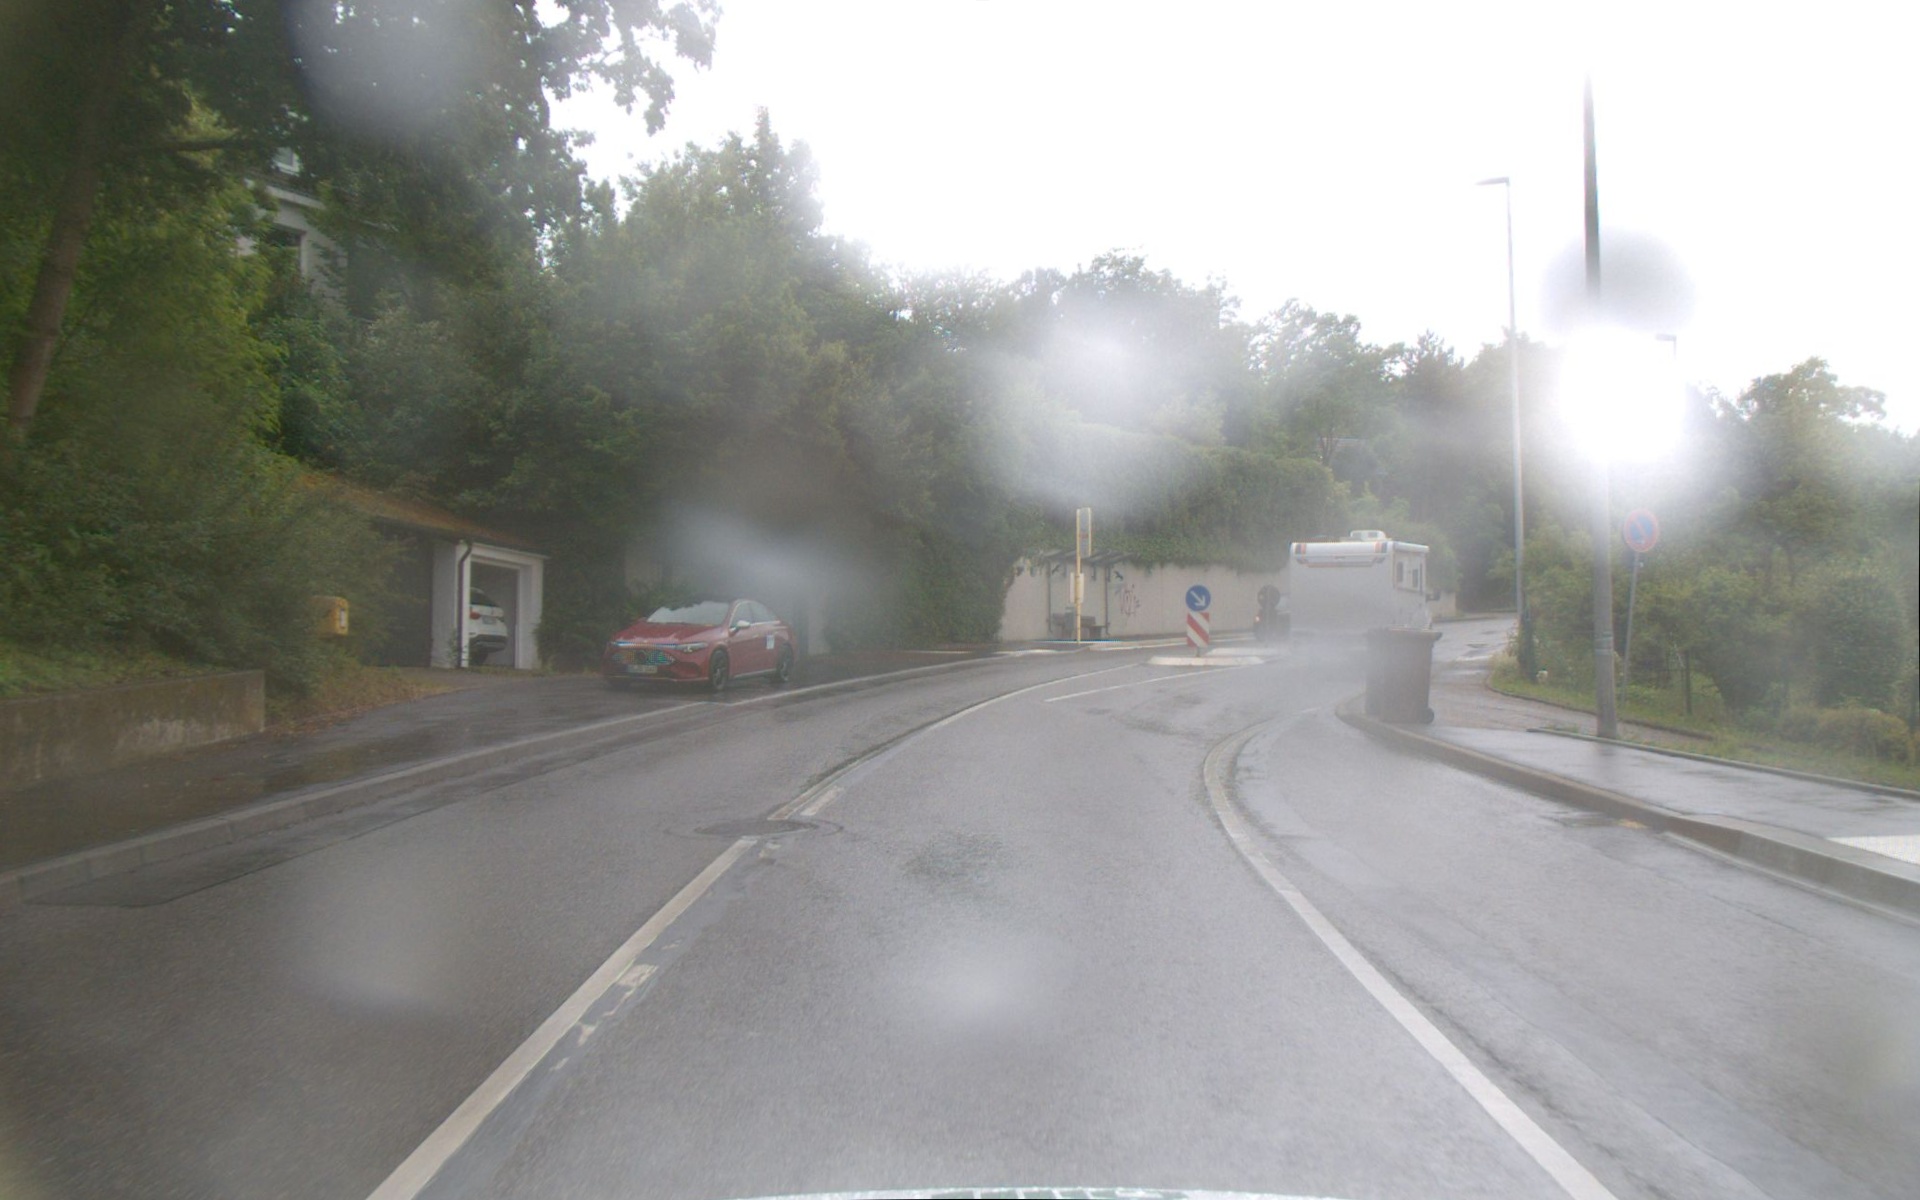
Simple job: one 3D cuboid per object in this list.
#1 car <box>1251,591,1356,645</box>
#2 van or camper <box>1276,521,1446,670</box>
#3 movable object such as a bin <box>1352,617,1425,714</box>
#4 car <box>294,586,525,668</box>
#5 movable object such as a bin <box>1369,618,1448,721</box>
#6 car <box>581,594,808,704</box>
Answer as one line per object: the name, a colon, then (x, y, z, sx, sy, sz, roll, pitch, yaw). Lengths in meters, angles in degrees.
car: (10.953, 0.552, 52.620, 1.698, 1.440, 3.985, -4, -1, 36)
van or camper: (9.240, -0.133, 37.699, 2.490, 2.975, 5.944, -4, -1, 25)
movable object such as a bin: (5.275, 0.797, 20.382, 0.761, 1.153, 0.738, 0, 0, 5)
car: (-10.769, 0.518, 32.455, 3.902, 1.530, 1.880, -1, 0, 14)
movable object such as a bin: (5.168, 0.788, 19.094, 0.761, 1.153, 0.738, 0, 0, 5)
car: (-4.189, 0.710, 26.945, 1.951, 1.589, 4.656, 1, 0, 14)
